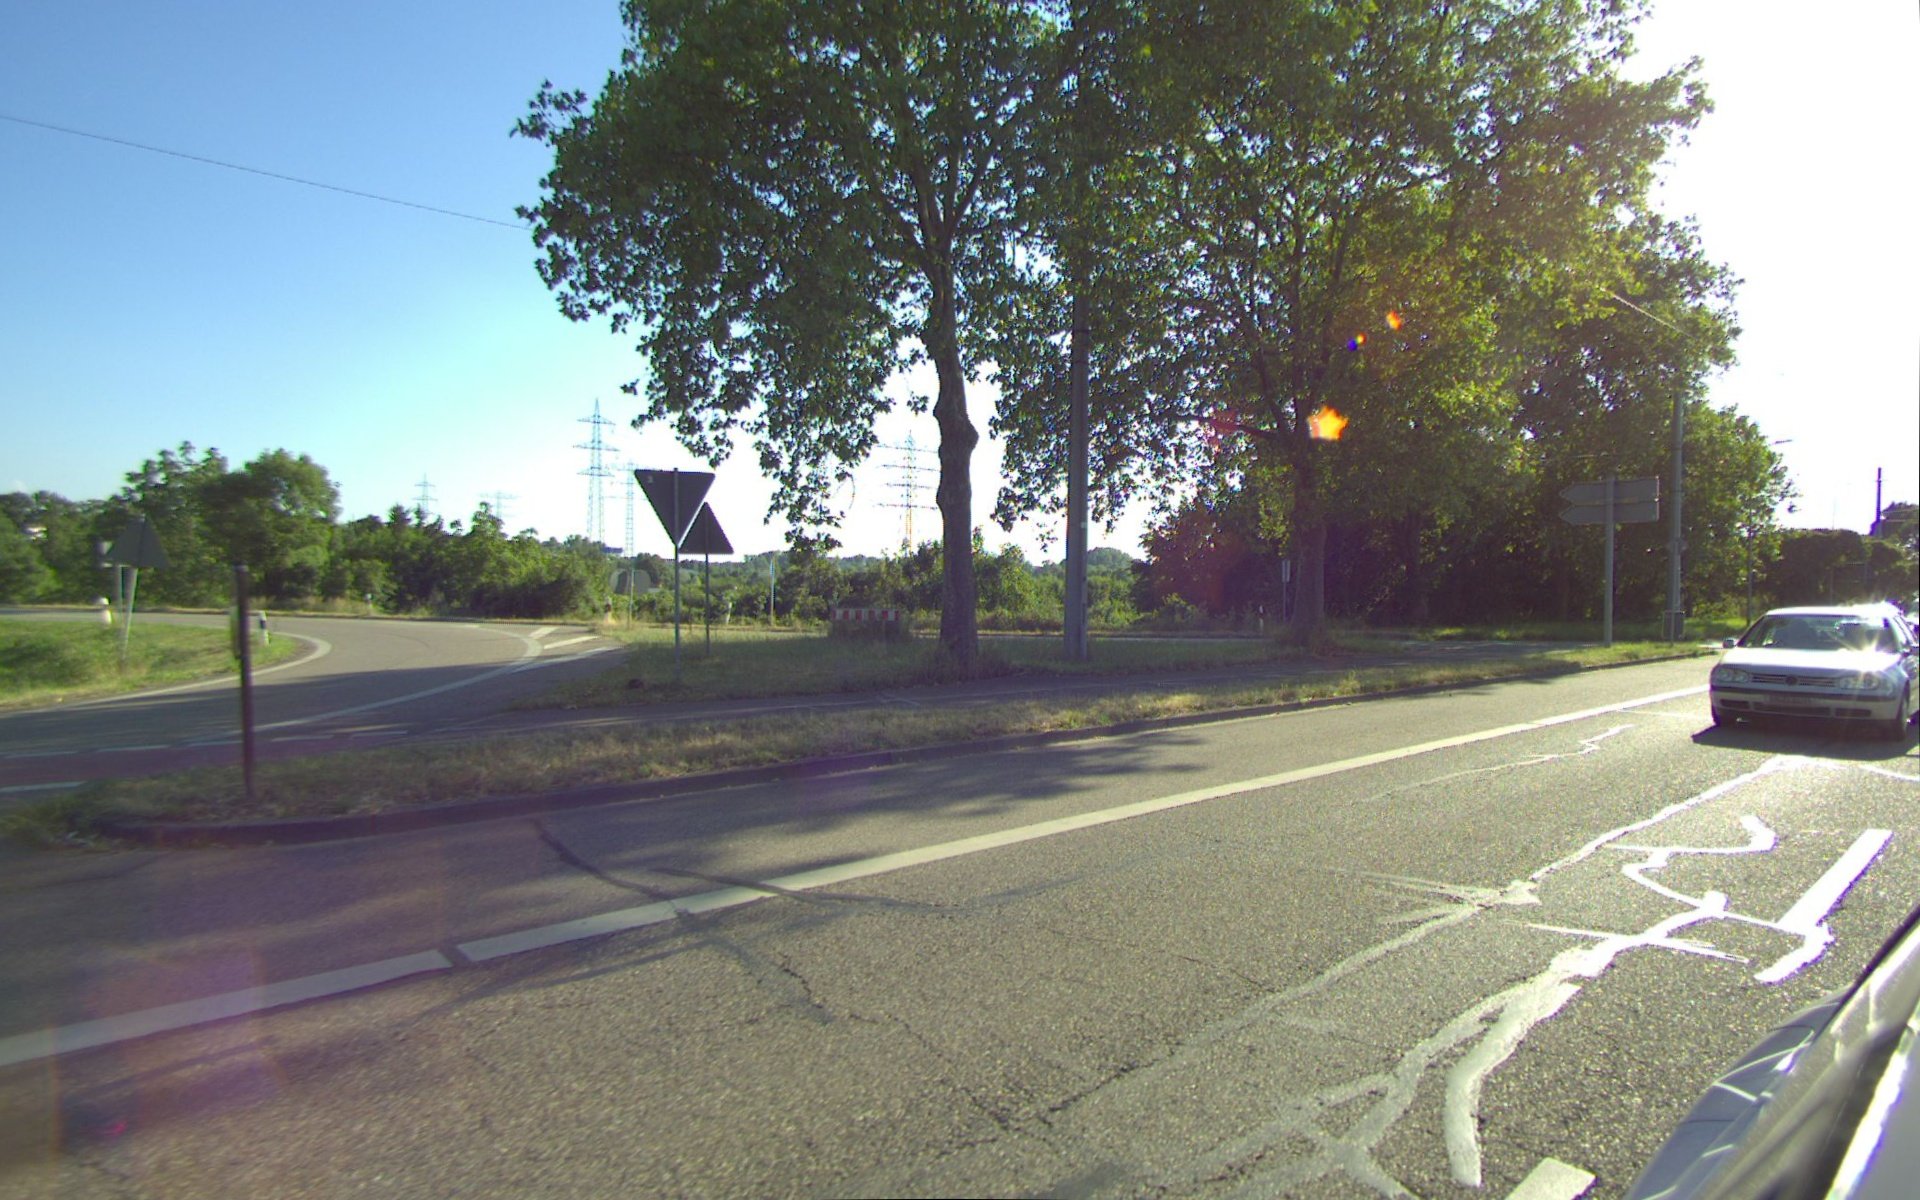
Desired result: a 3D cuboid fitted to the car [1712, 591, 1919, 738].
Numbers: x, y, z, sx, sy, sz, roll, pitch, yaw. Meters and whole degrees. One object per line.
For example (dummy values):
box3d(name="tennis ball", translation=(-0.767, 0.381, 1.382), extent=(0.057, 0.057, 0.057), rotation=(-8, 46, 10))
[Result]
box3d(name="car", translation=(10.681, 0.638, 12.243), extent=(3.931, 1.463, 1.694), rotation=(-1, 1, -40))

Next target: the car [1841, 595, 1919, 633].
box3d(name="car", translation=(38.551, 0.553, 42.252), extent=(4.575, 1.461, 1.881), rotation=(-1, 1, -39))

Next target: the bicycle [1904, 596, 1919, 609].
box3d(name="bicycle", translation=(66.493, 0.138, 70.588), extent=(1.605, 0.844, 0.629), rotation=(0, 5, -39))

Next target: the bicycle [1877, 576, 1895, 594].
box3d(name="bicycle", translation=(56.866, -0.923, 62.145), extent=(1.936, 1.074, 0.528), rotation=(1, -1, -40))

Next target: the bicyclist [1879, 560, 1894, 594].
box3d(name="bicyclist", translation=(57.046, -1.414, 62.306), extent=(0.716, 2.043, 0.528), rotation=(0, -1, -40))

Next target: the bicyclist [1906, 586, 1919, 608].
box3d(name="bicyclist", translation=(66.613, -0.200, 70.656), extent=(1.041, 1.488, 0.629), rotation=(0, 4, -39))

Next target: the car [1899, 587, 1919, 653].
box3d(name="car", translation=(25.918, 0.485, 26.152), extent=(4.338, 1.620, 1.880), rotation=(-1, 1, -40))
